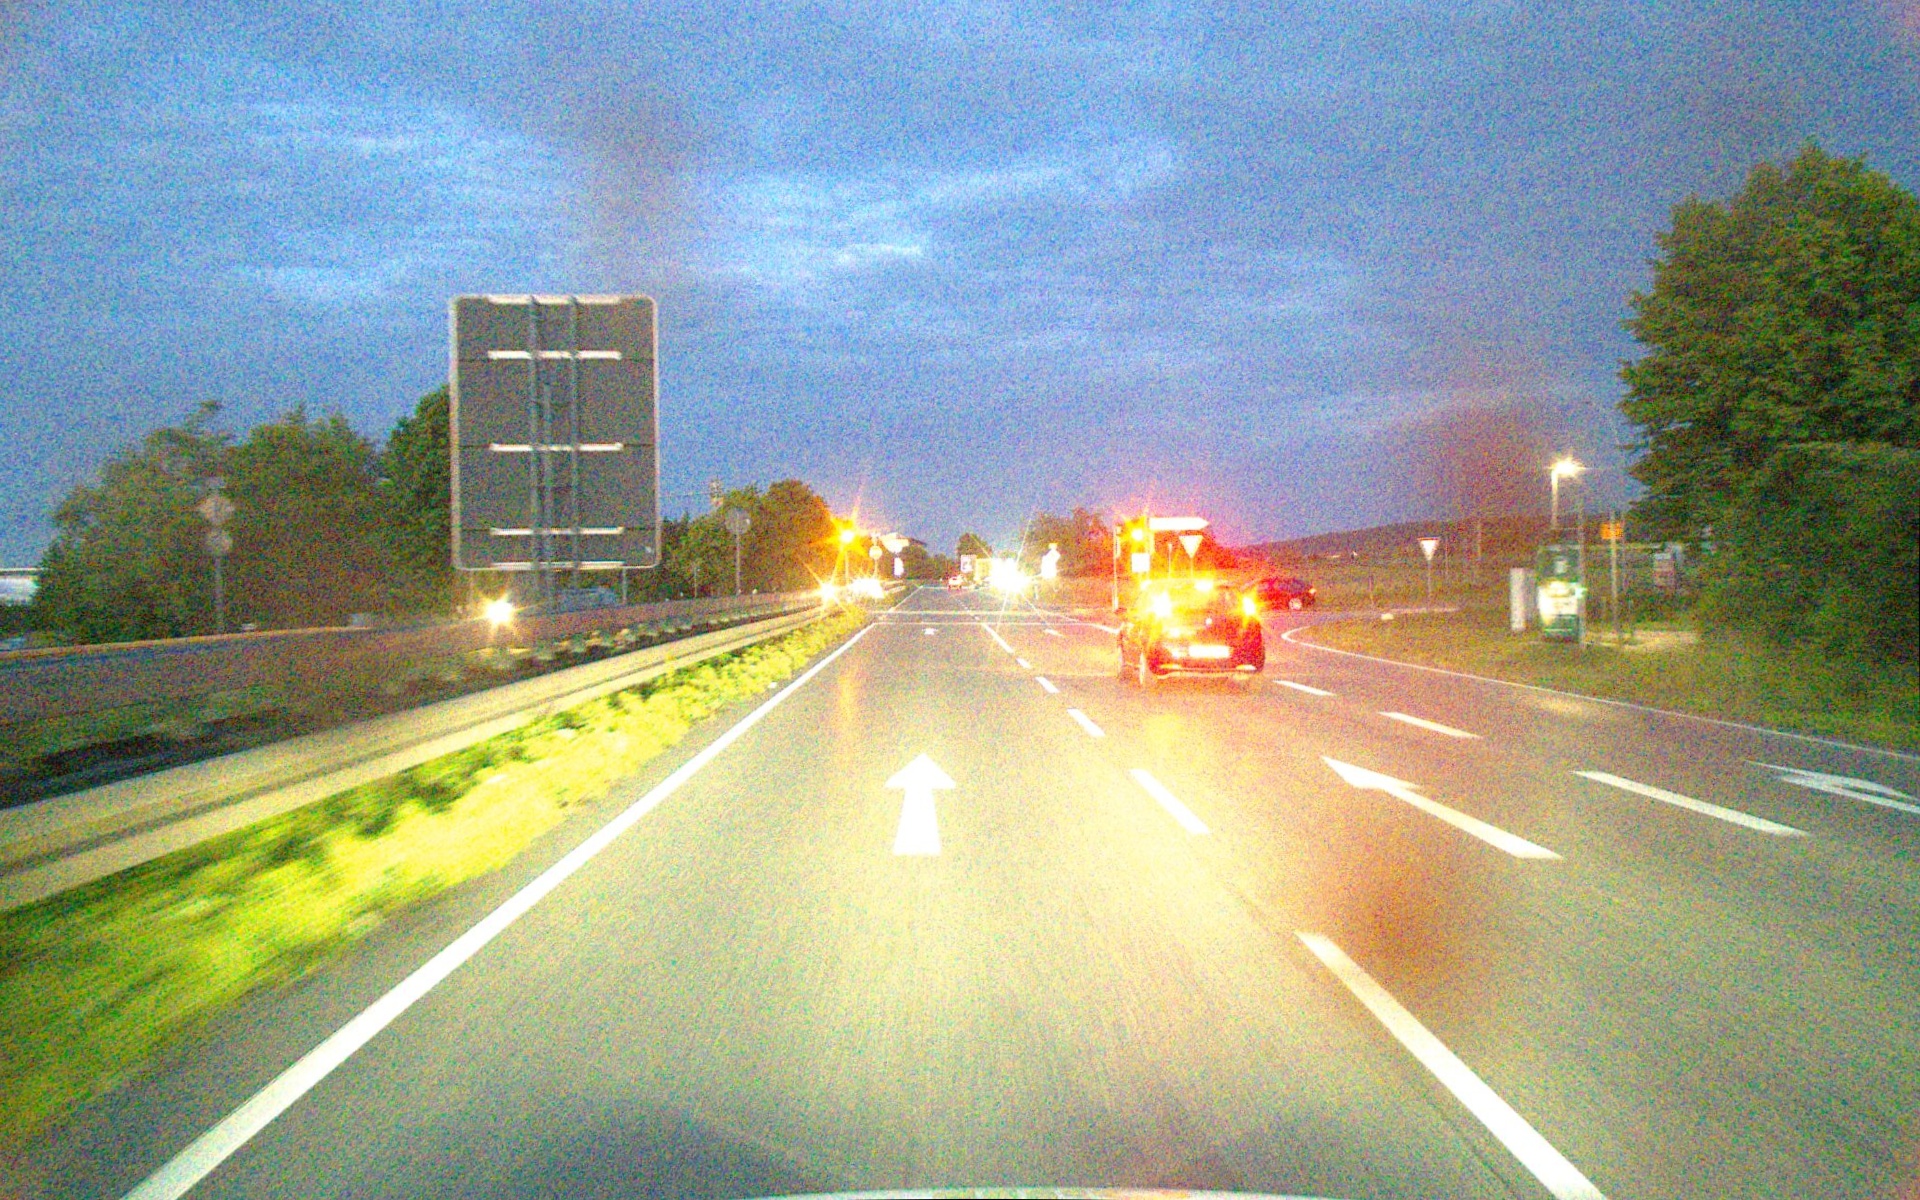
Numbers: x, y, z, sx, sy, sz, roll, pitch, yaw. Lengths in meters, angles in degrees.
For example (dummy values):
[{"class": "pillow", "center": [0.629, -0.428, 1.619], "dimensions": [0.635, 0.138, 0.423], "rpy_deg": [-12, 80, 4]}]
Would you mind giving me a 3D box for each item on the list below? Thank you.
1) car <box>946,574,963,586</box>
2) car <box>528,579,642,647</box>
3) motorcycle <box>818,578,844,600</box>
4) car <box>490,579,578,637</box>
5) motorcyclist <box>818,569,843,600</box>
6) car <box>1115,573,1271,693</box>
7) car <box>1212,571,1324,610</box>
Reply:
[{"class": "car", "center": [-0.818, -2.798, 235.992], "dimensions": [2.228, 1.660, 3.999], "rpy_deg": [-1, 1, -2]}, {"class": "car", "center": [-8.893, 0.267, 39.605], "dimensions": [1.882, 1.456, 4.499], "rpy_deg": [-2, 1, -3]}, {"class": "motorcycle", "center": [-6.895, -0.576, 88.408], "dimensions": [0.958, 1.117, 2.510], "rpy_deg": [-1, 1, 6]}, {"class": "car", "center": [-13.100, 0.208, 51.075], "dimensions": [1.759, 1.700, 4.499], "rpy_deg": [0, 1, -3]}, {"class": "motorcyclist", "center": [-6.924, -0.828, 88.296], "dimensions": [1.113, 1.612, 0.973], "rpy_deg": [-1, 1, 6]}, {"class": "car", "center": [3.199, 0.400, 23.380], "dimensions": [1.636, 1.547, 4.106], "rpy_deg": [0, 1, 0]}, {"class": "car", "center": [13.428, -0.442, 72.320], "dimensions": [4.507, 1.547, 2.000], "rpy_deg": [-2, 1, -1]}]
